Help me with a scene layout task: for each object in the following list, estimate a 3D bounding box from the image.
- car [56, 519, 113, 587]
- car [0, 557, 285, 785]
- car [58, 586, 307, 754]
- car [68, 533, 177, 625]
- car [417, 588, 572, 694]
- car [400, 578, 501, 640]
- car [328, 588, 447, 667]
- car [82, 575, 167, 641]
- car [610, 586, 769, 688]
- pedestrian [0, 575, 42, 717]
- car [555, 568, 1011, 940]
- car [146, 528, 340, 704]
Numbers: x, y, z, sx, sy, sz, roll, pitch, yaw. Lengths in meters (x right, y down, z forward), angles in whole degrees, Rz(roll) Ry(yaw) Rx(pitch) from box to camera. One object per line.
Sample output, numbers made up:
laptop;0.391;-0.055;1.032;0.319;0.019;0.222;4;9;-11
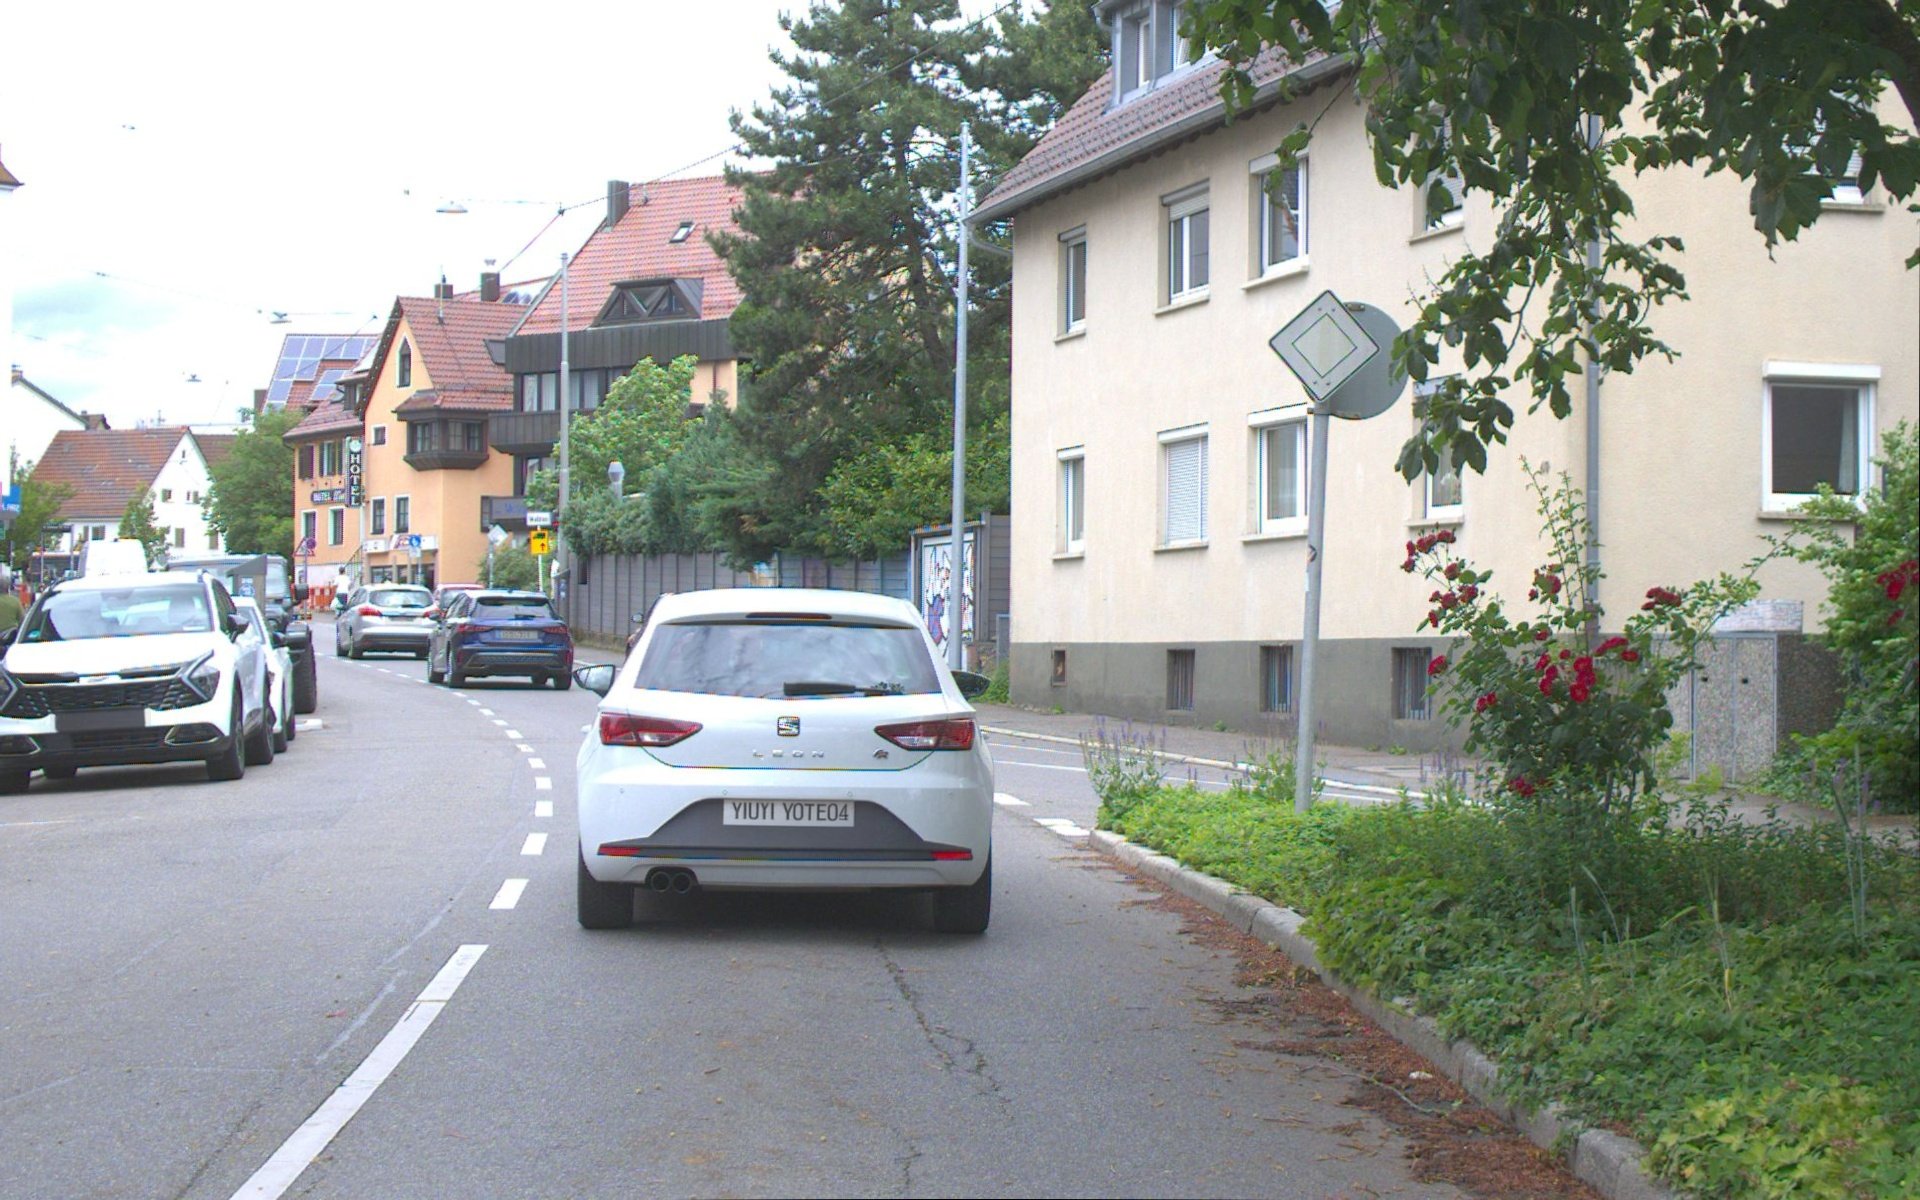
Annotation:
car;-36.023;-1.921;141.427;2.151;2.678;5.396;2;0;-14
car;-6.622;0.502;27.496;1.997;1.627;4.859;2;0;-7
car;-7.262;0.618;32.437;1.997;1.431;3.919;2;0;-9
car;-25.794;-0.646;106.092;2.152;2.678;5.545;2;0;-2
car;-6.817;0.569;50.078;1.758;1.447;4.001;1;0;-14
car;-12.322;0.208;83.002;1.758;1.447;4.001;1;0;-18
car;-11.113;0.513;66.617;1.758;1.447;4.001;1;0;-17
car;-19.844;0.163;81.521;1.798;1.474;4.052;-2;1;-15
car;-4.235;0.547;53.283;1.758;1.447;4.001;3;-1;-14
pedestrian;-10.337;0.482;36.832;0.806;1.495;0.976;3;-1;-9
car;-0.926;0.616;15.575;1.758;1.447;4.001;1;0;-7
car;-8.794;0.159;42.505;1.993;2.007;4.671;-1;1;-8
